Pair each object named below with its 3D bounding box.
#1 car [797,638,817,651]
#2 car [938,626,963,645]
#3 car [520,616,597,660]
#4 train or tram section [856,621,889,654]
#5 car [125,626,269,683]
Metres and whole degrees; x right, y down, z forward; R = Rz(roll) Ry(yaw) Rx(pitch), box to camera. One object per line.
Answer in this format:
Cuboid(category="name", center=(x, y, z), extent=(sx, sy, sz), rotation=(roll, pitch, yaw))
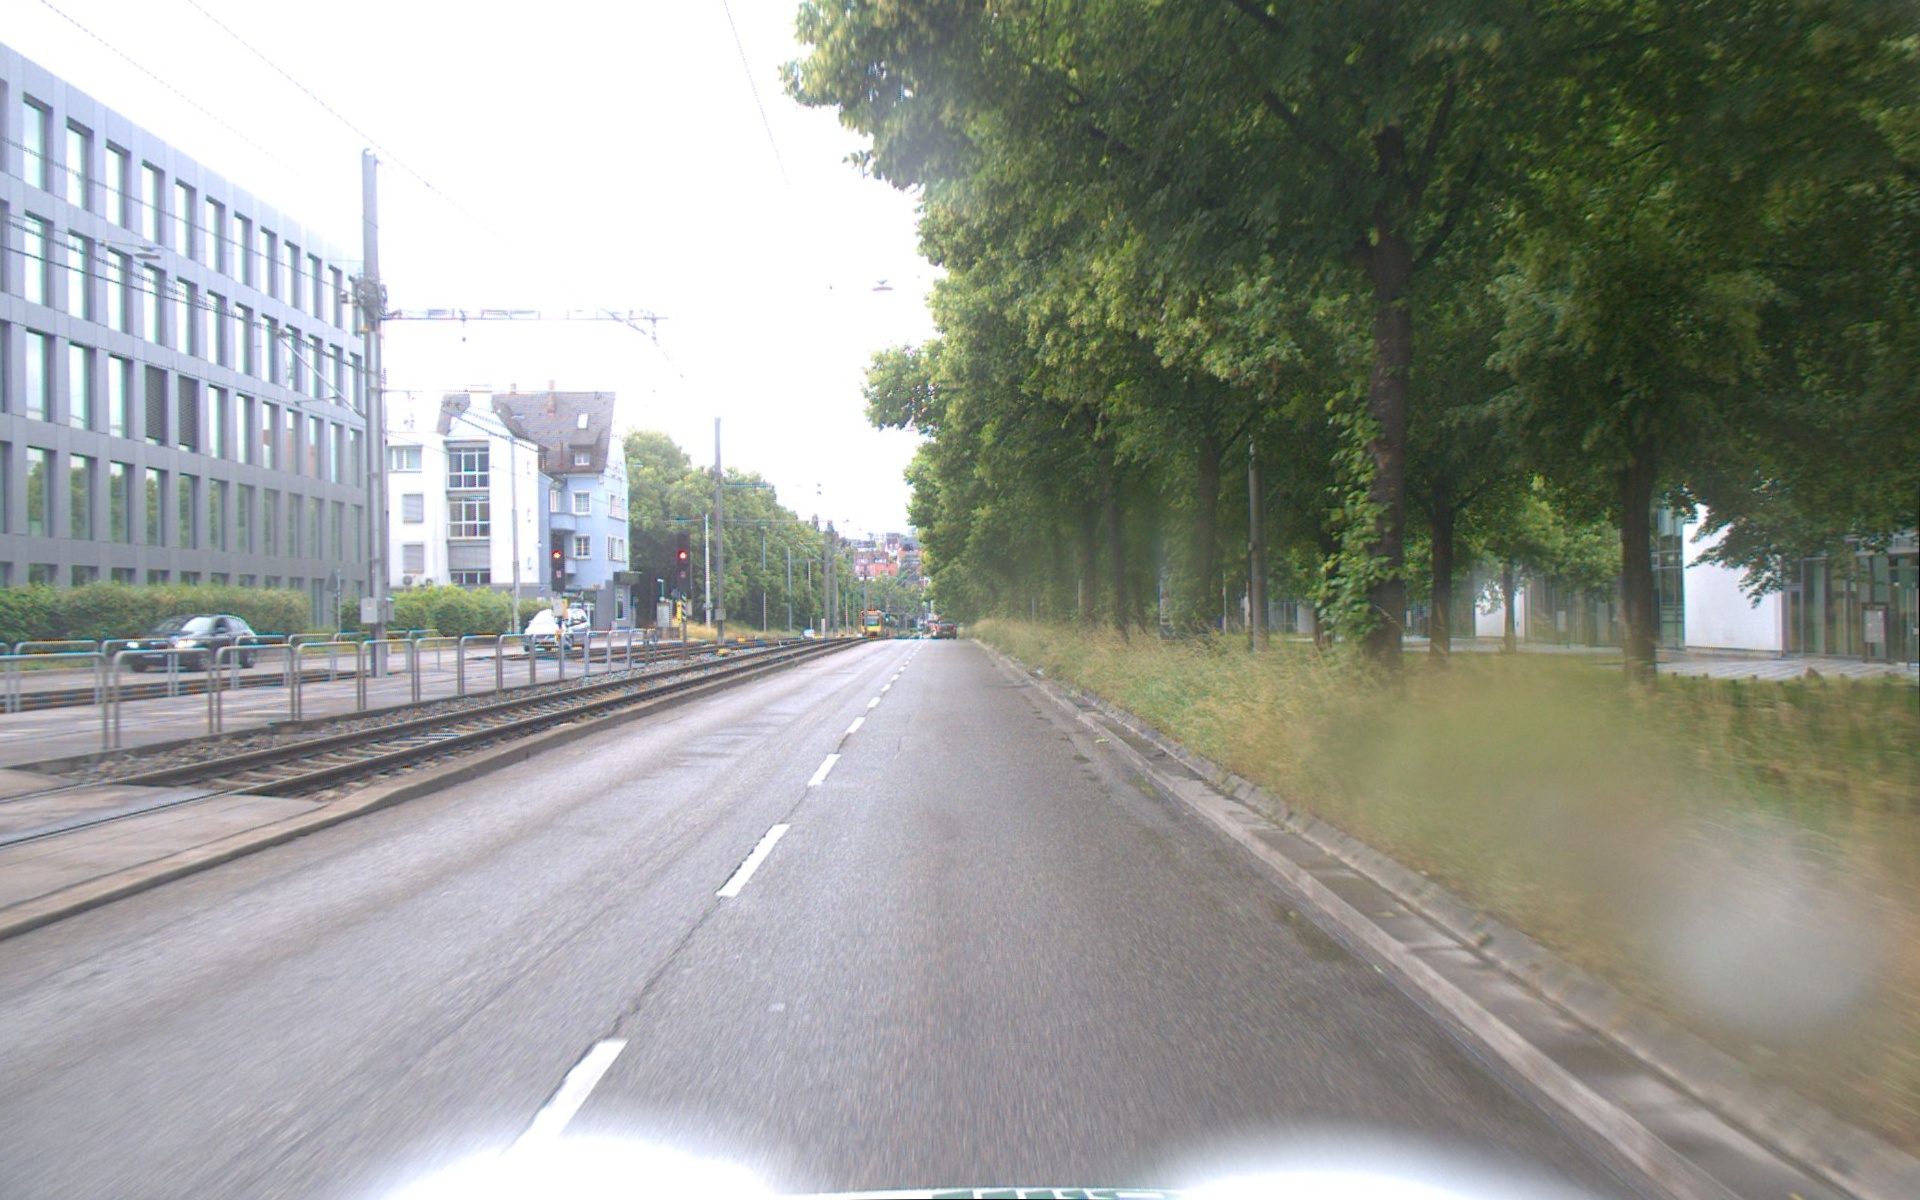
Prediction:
Cuboid(category="car", center=(-17.588, 5.137, 190.313), extent=(1.863, 1.348, 4.825), rotation=(-1, -2, 1))
Cuboid(category="car", center=(-0.753, 2.810, 130.829), extent=(1.942, 1.466, 4.473), rotation=(-1, -1, 0))
Cuboid(category="car", center=(-16.227, 1.554, 67.099), extent=(1.863, 1.674, 4.884), rotation=(-1, -1, 1))
Cuboid(category="train or tram section", center=(-11.232, 4.907, 213.295), extent=(3.148, 3.863, 14.788), rotation=(-1, -2, 1))
Cuboid(category="car", center=(-19.655, 1.384, 42.787), extent=(1.761, 1.370, 4.258), rotation=(-1, -1, 0))
